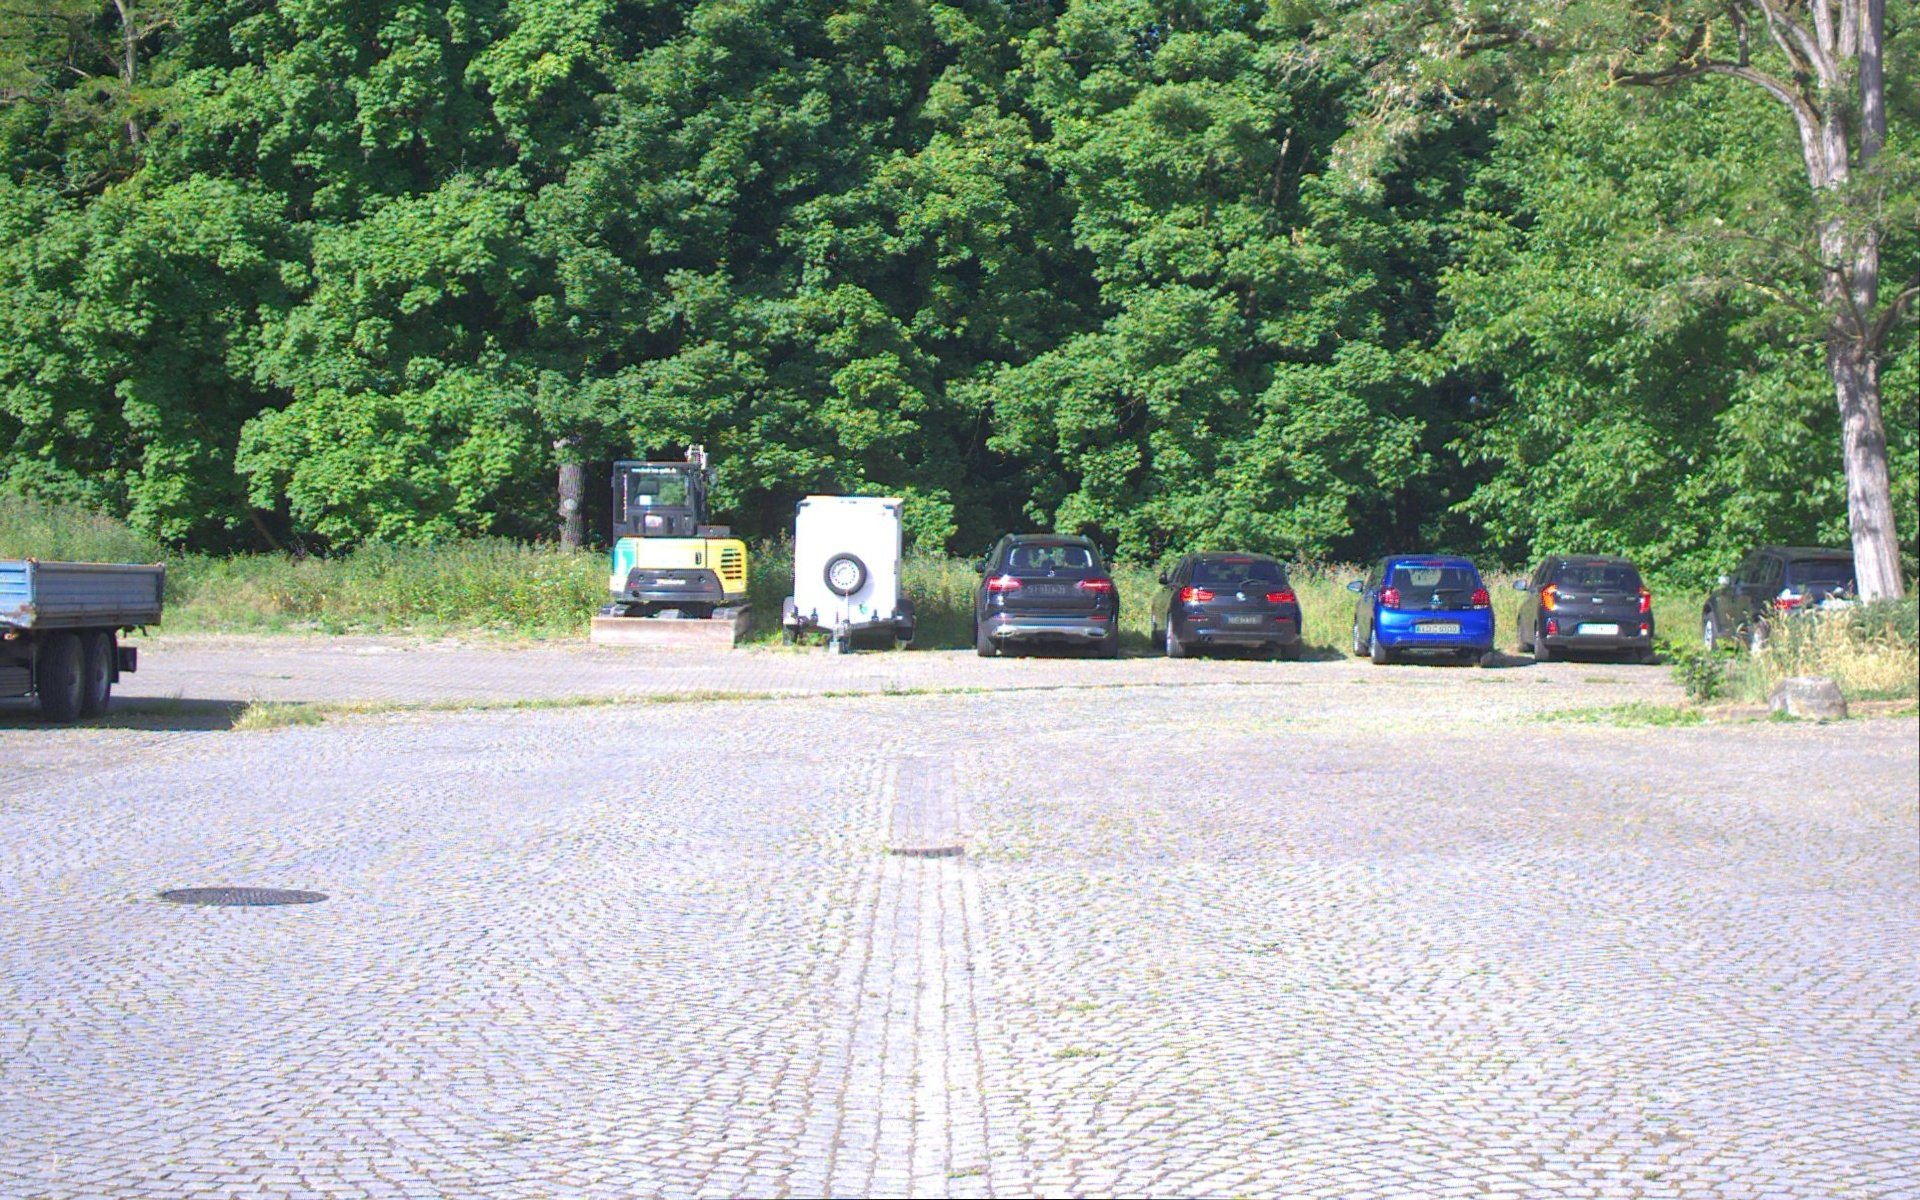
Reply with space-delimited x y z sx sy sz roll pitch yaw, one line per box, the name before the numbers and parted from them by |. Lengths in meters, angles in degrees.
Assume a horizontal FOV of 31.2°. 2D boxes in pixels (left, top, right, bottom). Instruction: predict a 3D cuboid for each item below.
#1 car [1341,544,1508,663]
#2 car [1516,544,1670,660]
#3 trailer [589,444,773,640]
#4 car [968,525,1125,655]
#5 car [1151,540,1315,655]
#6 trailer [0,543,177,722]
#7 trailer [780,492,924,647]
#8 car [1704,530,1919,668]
car | 6.309 0.013 47.052 1.780 1.453 3.790 1 2 1
car | 8.809 -0.009 48.095 1.739 1.446 3.724 1 2 5
trailer | -3.871 -0.852 48.138 2.258 2.529 2.851 1 4 1
car | 1.127 -0.174 46.616 1.964 1.584 4.132 1 2 0
car | 3.680 -0.062 46.981 1.889 1.406 3.790 1 2 0
trailer | -8.638 0.218 29.694 2.640 1.410 4.862 1 0 0
trailer | -1.478 -0.454 47.834 1.818 2.043 2.850 1 2 1
car | 11.758 -0.050 47.701 1.874 1.625 4.274 1 3 0
